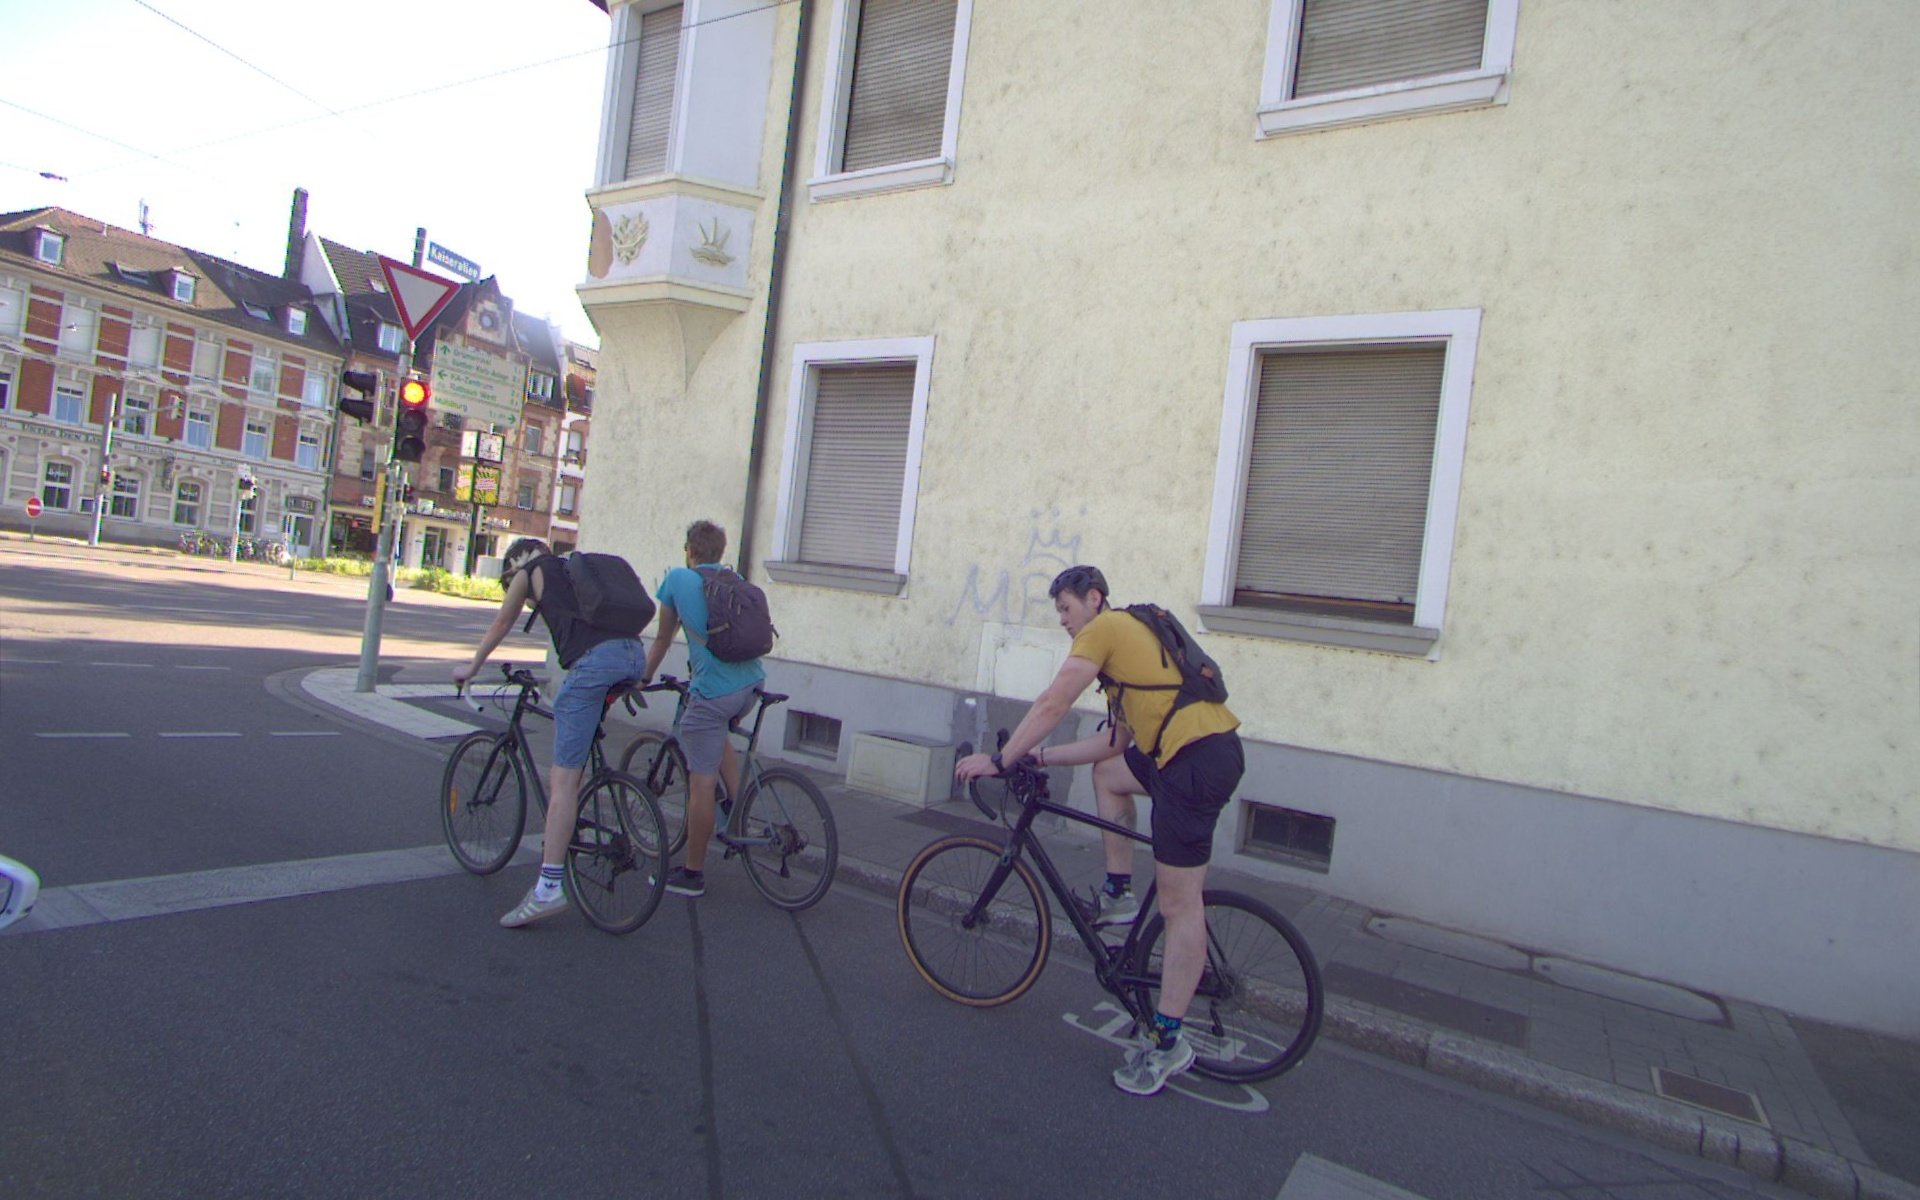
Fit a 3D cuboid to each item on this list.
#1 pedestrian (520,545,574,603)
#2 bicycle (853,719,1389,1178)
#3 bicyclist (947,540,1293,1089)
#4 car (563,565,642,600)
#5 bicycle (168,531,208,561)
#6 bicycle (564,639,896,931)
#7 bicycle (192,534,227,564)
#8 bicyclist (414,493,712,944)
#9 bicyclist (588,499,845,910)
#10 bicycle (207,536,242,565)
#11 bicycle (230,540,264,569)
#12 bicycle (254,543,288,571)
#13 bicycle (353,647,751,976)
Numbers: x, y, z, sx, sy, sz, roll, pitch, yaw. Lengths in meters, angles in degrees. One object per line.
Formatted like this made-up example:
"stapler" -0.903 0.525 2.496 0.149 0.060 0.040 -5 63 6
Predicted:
"pedestrian" -16.565 -1.042 40.383 1.285 2.068 1.321 7 0 31
"bicycle" 0.549 1.141 3.772 1.780 1.101 0.611 7 0 32
"bicyclist" 0.600 0.712 3.782 0.939 1.742 0.582 7 0 32
"car" -23.168 -1.125 65.326 2.116 1.660 4.340 7 -1 31
"bicycle" -35.059 -2.445 45.685 2.140 1.157 0.806 7 0 37
"bicycle" -1.256 0.880 5.286 1.784 1.130 0.519 7 0 34
"bicycle" -34.545 -2.355 46.287 2.140 1.157 0.618 7 0 37
"bicyclist" -1.806 0.467 4.551 1.083 1.775 0.562 7 0 34
"bicyclist" -1.273 0.493 5.252 0.961 1.917 0.602 6 -1 34
"bicycle" -34.210 -2.307 46.764 2.140 1.157 0.618 7 0 37
"bicycle" -33.677 -2.160 47.516 2.140 1.157 0.618 7 0 37
"bicycle" -33.112 -2.067 48.320 2.102 1.150 0.609 7 0 37
"bicycle" -1.917 0.849 4.597 1.897 1.023 0.645 7 0 34
